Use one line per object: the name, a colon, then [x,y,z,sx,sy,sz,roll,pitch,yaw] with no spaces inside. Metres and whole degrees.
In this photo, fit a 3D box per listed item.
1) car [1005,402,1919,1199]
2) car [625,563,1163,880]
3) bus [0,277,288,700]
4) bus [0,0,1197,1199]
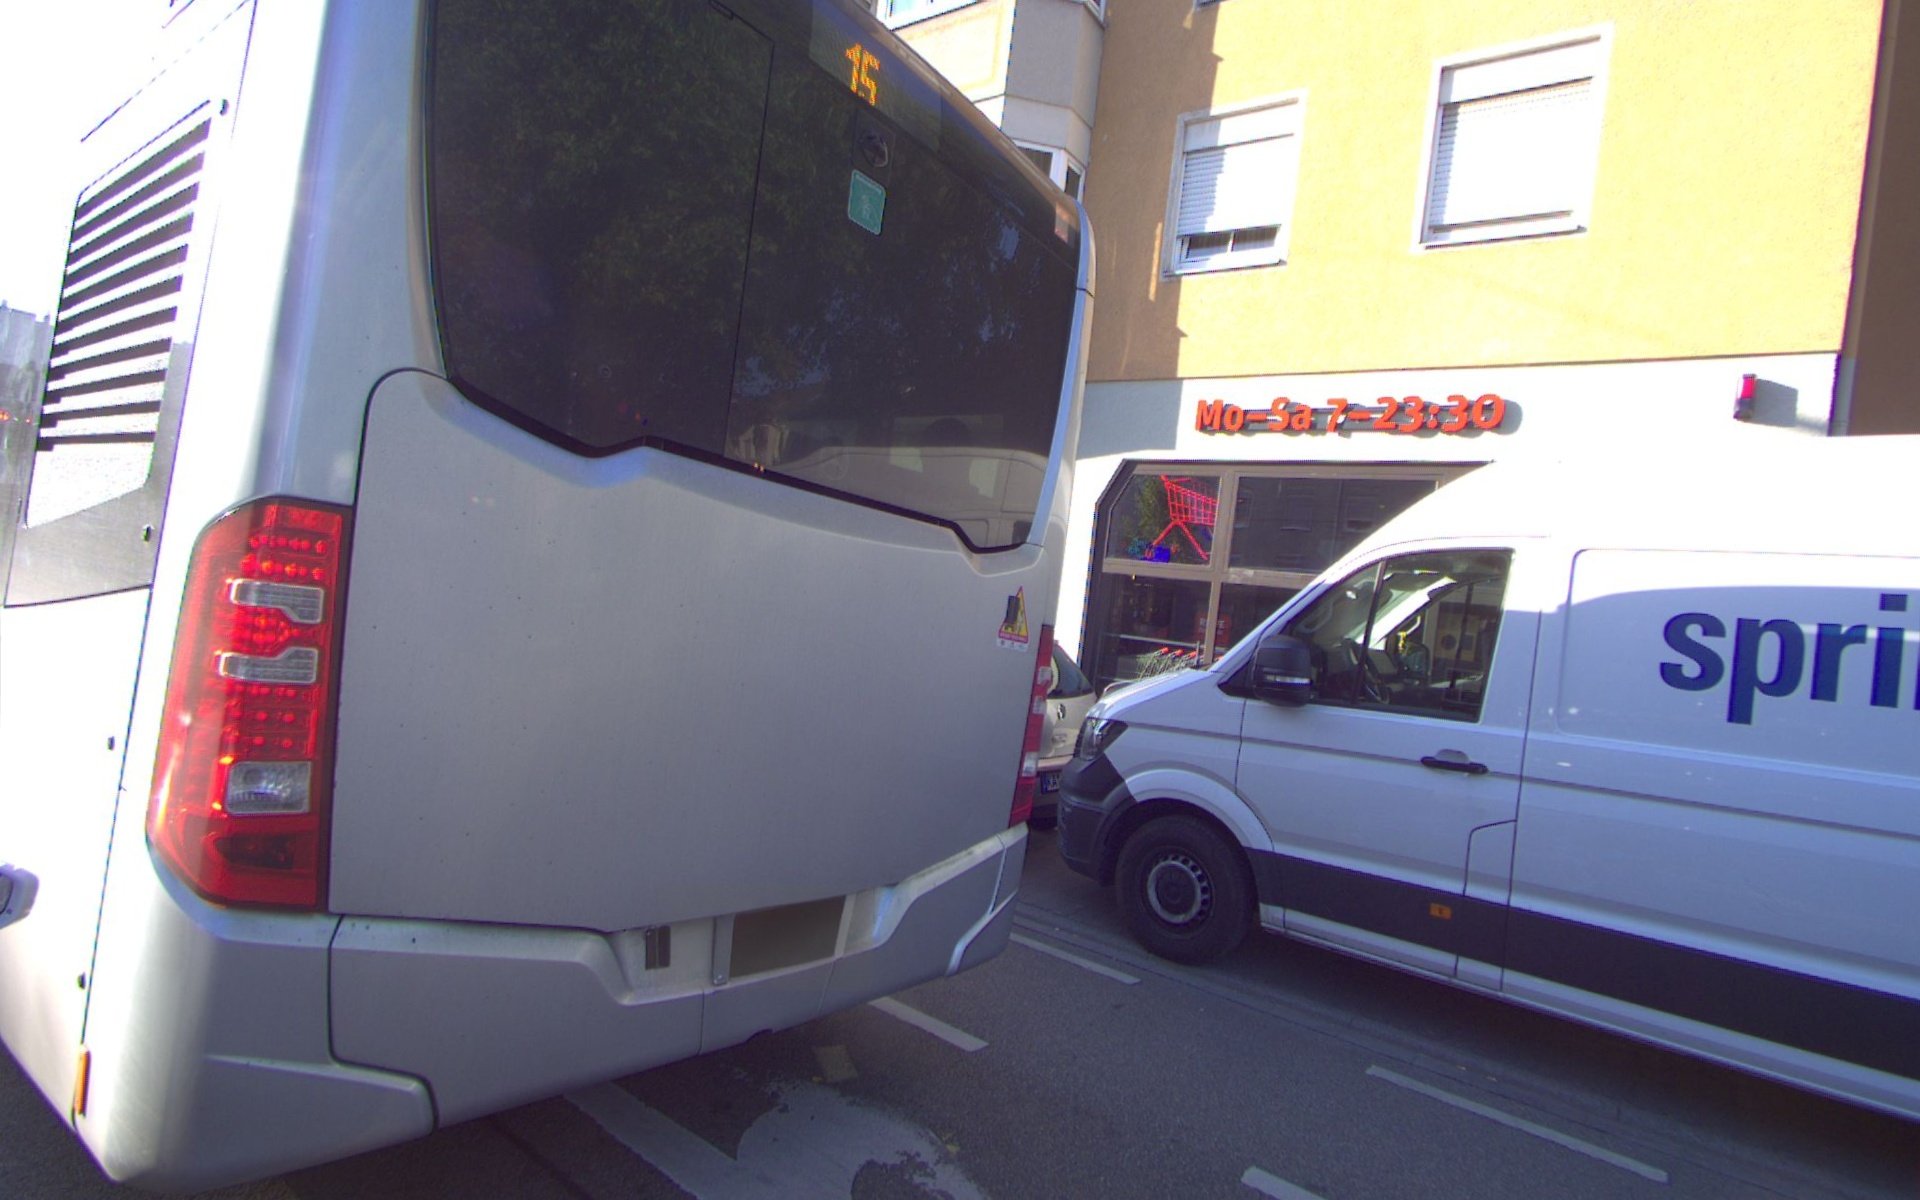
car: [3.175,0.644,4.366,5.698,2.586,2.013,6,3,38]
car: [-0.625,0.736,7.713,3.729,1.607,1.837,7,0,39]
bus: [-10.488,-1.189,10.636,8.995,3.091,2.739,6,-2,38]
bus: [-3.590,-0.417,5.107,8.722,3.091,2.739,6,-2,38]
